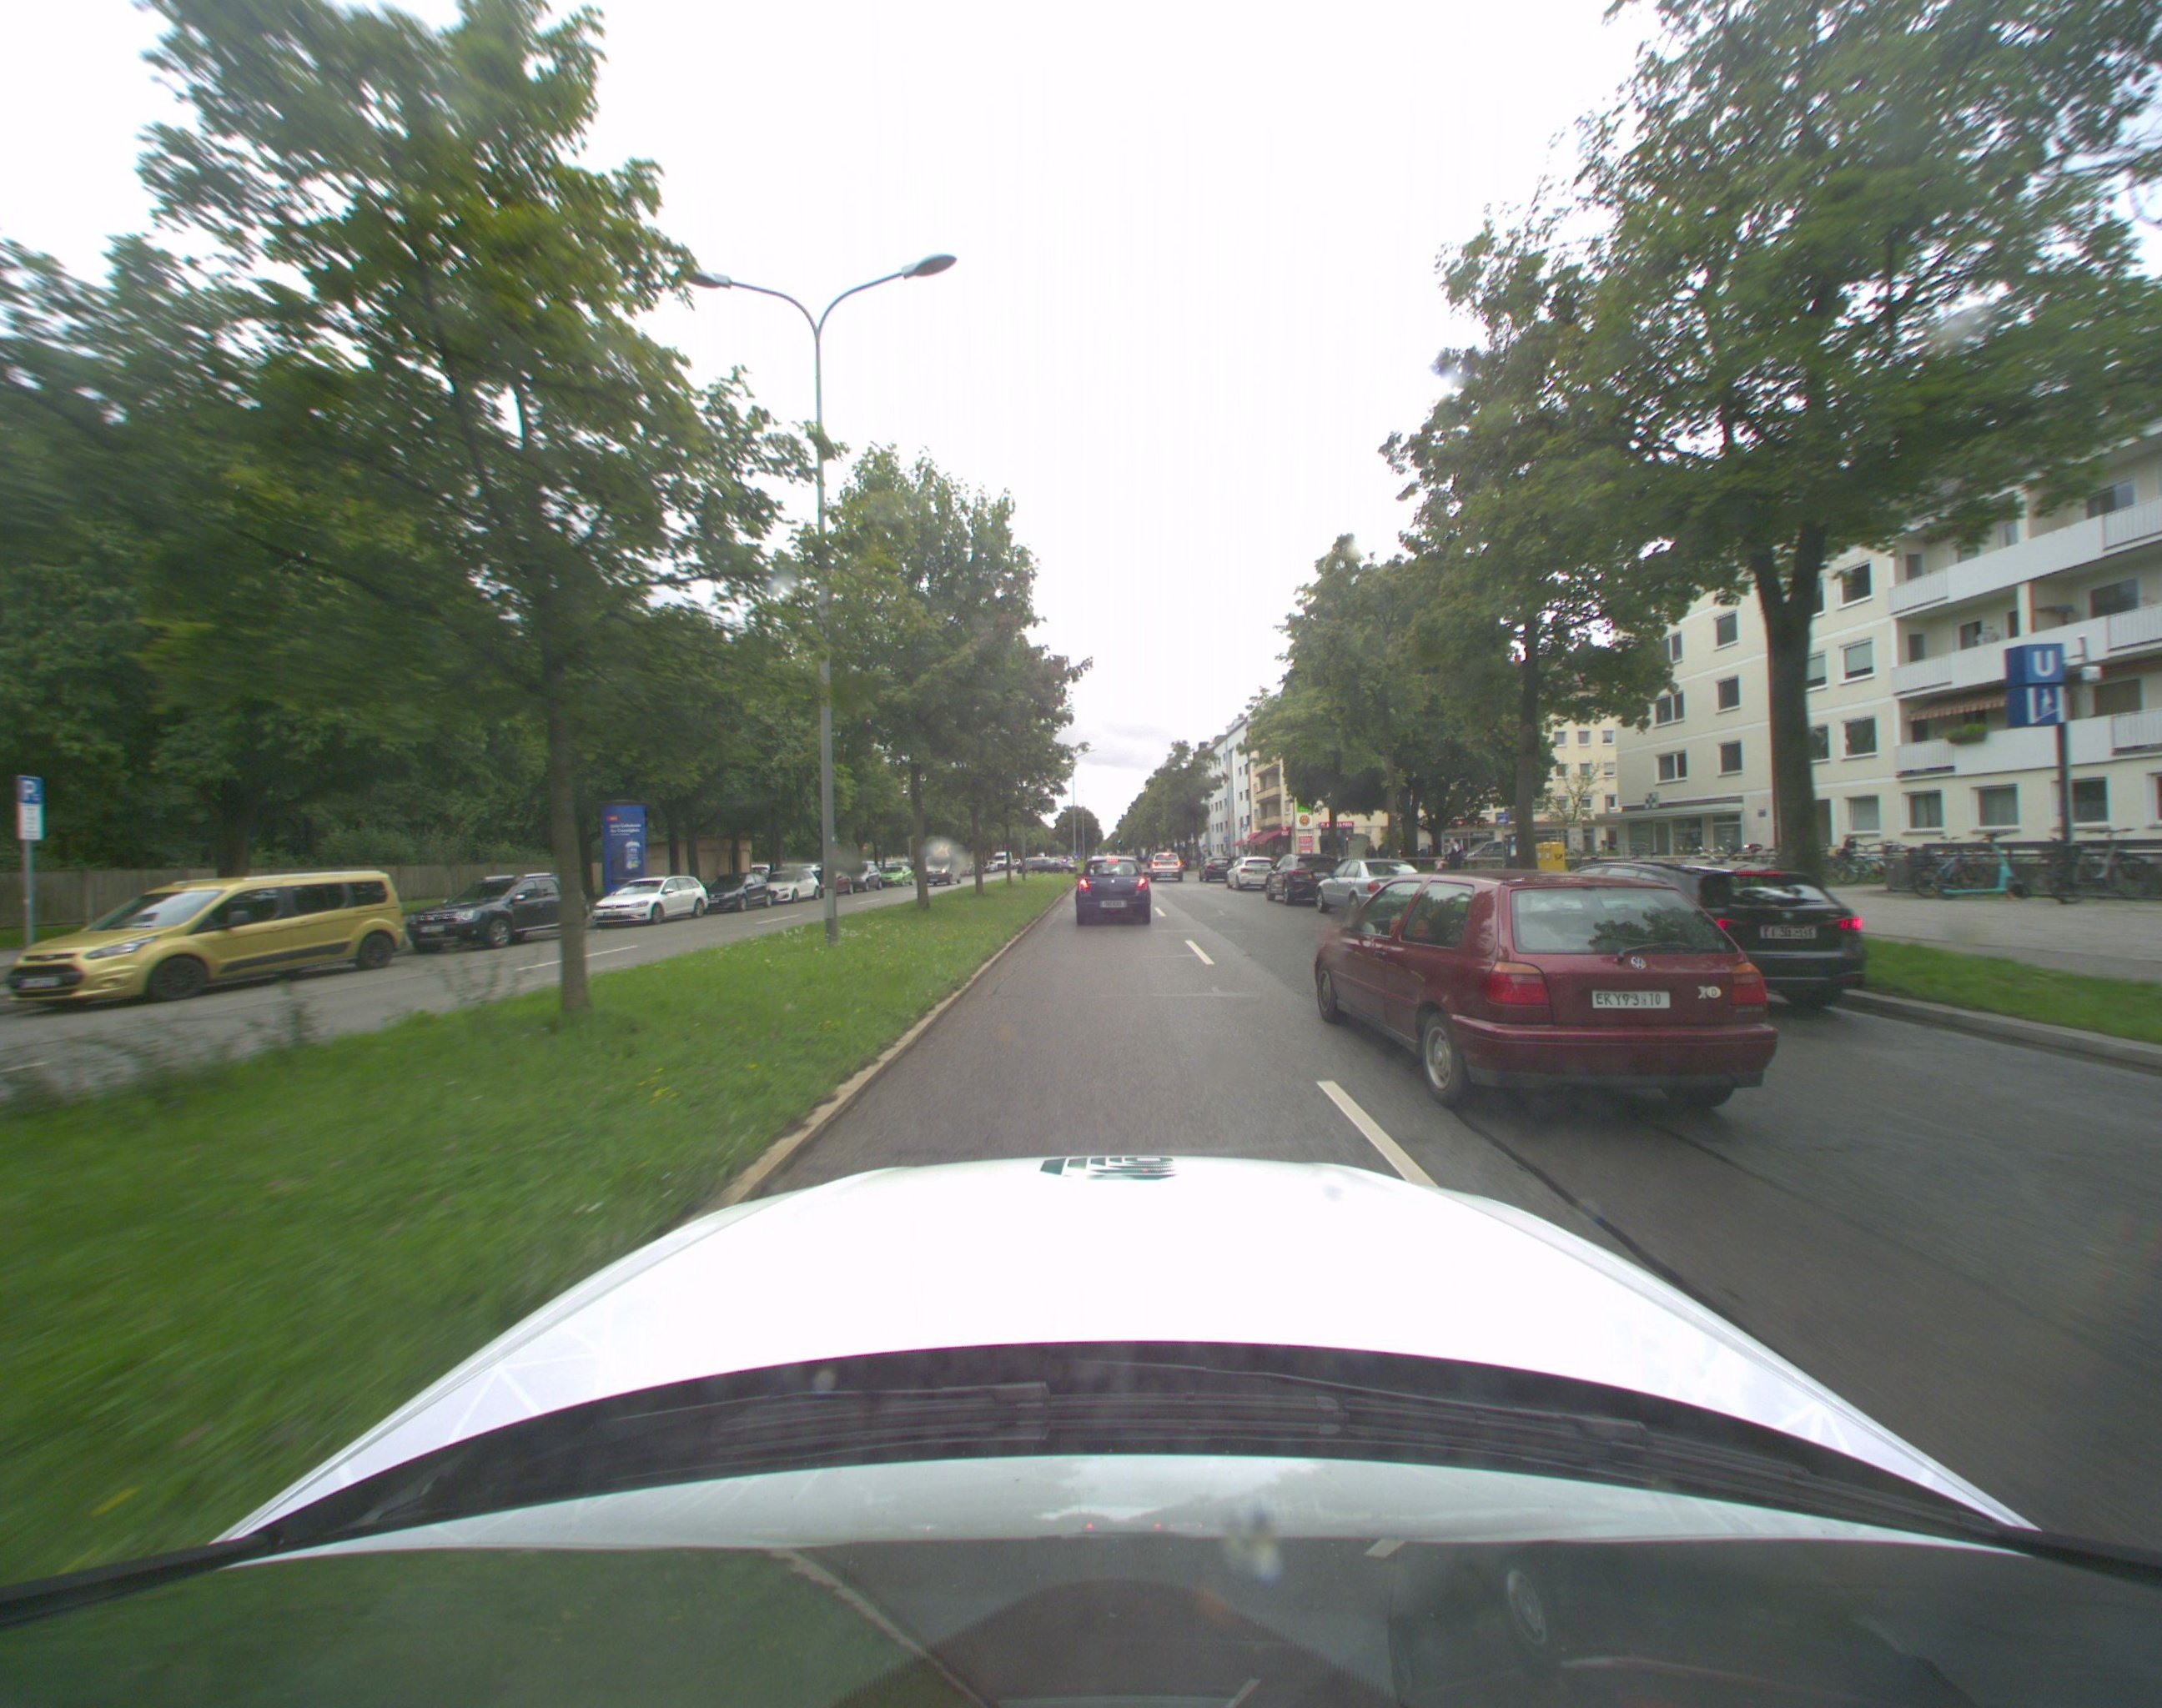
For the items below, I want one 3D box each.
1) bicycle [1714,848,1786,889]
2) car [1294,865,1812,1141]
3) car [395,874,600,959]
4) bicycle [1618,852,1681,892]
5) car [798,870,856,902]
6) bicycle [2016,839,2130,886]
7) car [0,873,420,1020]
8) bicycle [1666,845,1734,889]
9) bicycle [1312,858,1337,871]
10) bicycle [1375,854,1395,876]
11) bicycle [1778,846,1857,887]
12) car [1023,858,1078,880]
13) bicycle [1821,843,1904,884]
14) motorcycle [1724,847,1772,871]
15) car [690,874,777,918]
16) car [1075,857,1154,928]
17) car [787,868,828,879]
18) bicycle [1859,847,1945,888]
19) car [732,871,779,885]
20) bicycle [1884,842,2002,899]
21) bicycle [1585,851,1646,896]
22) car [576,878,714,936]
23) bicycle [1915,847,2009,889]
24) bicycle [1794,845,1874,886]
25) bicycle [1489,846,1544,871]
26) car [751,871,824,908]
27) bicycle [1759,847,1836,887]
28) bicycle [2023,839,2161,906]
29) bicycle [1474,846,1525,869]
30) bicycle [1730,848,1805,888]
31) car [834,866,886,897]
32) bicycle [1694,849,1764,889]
[{"bbox_3d":[17.875,0.370,21.806,0.429,1.028,1.885,-3,0,3],"label":"bicycle"},{"bbox_3d":[2.931,0.787,6.137,1.676,1.384,3.919,0,0,1],"label":"car"},{"bbox_3d":[-13.812,1.403,19.653,1.730,1.646,4.257,-3,0,1],"label":"car"},{"bbox_3d":[15.482,0.472,22.225,0.429,1.028,1.885,-3,0,3],"label":"bicycle"},{"bbox_3d":[-13.086,1.631,42.192,1.584,1.397,3.634,-3,0,3],"label":"car"},{"bbox_3d":[23.458,0.192,19.308,0.429,1.028,1.885,-3,0,3],"label":"bicycle"},{"bbox_3d":[-13.790,1.304,13.291,1.807,1.783,4.821,-3,0,3],"label":"car"},{"bbox_3d":[16.630,0.335,21.940,0.429,1.101,1.885,-3,0,3],"label":"bicycle"},{"bbox_3d":[19.395,0.832,64.838,1.841,0.957,0.557,-1,-1,0],"label":"bicycle"},{"bbox_3d":[15.304,0.563,41.056,0.380,1.103,1.884,-1,-1,3],"label":"bicycle"},{"bbox_3d":[19.604,0.330,21.723,0.429,1.028,1.885,-3,0,3],"label":"bicycle"},{"bbox_3d":[-2.338,1.138,62.356,4.114,1.468,1.837,-2,0,-5],"label":"car"},{"bbox_3d":[20.807,0.242,21.721,0.429,1.028,1.885,-3,0,3],"label":"bicycle"},{"bbox_3d":[29.388,0.218,35.898,0.601,1.023,1.907,-1,-1,2],"label":"motorcycle"},{"bbox_3d":[-13.198,1.555,31.204,1.608,1.417,3.896,-3,0,-1],"label":"car"},{"bbox_3d":[0.755,0.839,19.538,1.676,1.502,3.919,-1,0,1],"label":"car"},{"bbox_3d":[-35.458,2.519,105.534,4.673,1.445,1.673,-1,-1,2],"label":"car"},{"bbox_3d":[21.734,0.345,21.608,0.429,1.028,1.885,-3,0,3],"label":"bicycle"},{"bbox_3d":[-28.943,2.116,72.326,4.363,1.201,1.683,-1,-1,33],"label":"car"},{"bbox_3d":[17.039,0.330,16.105,1.872,1.028,0.432,-3,-1,-2],"label":"bicycle"},{"bbox_3d":[14.431,0.506,22.047,0.429,1.133,1.885,-3,0,3],"label":"bicycle"},{"bbox_3d":[-13.588,1.592,25.710,1.756,1.449,4.534,-3,0,1],"label":"car"},{"bbox_3d":[22.867,0.354,21.196,0.429,1.028,1.885,-3,0,3],"label":"bicycle"},{"bbox_3d":[20.096,0.284,21.798,0.429,1.028,1.885,-3,0,3],"label":"bicycle"},{"bbox_3d":[17.019,0.175,31.847,1.869,0.973,0.433,-1,-1,3],"label":"bicycle"},{"bbox_3d":[-13.292,1.573,37.135,1.601,1.444,4.281,-3,0,2],"label":"car"},{"bbox_3d":[19.119,0.332,21.775,0.429,1.028,1.885,-3,0,3],"label":"bicycle"},{"bbox_3d":[17.083,0.306,13.746,1.872,1.028,0.432,-3,-1,-2],"label":"bicycle"},{"bbox_3d":[17.778,0.165,34.609,1.869,0.940,0.558,-1,-1,3],"label":"bicycle"},{"bbox_3d":[18.357,0.358,21.827,0.429,1.028,1.885,-3,0,3],"label":"bicycle"},{"bbox_3d":[-12.941,1.558,47.981,1.685,1.586,4.371,-3,0,1],"label":"car"},{"bbox_3d":[17.328,0.385,21.830,0.429,1.028,1.885,-3,0,3],"label":"bicycle"}]
